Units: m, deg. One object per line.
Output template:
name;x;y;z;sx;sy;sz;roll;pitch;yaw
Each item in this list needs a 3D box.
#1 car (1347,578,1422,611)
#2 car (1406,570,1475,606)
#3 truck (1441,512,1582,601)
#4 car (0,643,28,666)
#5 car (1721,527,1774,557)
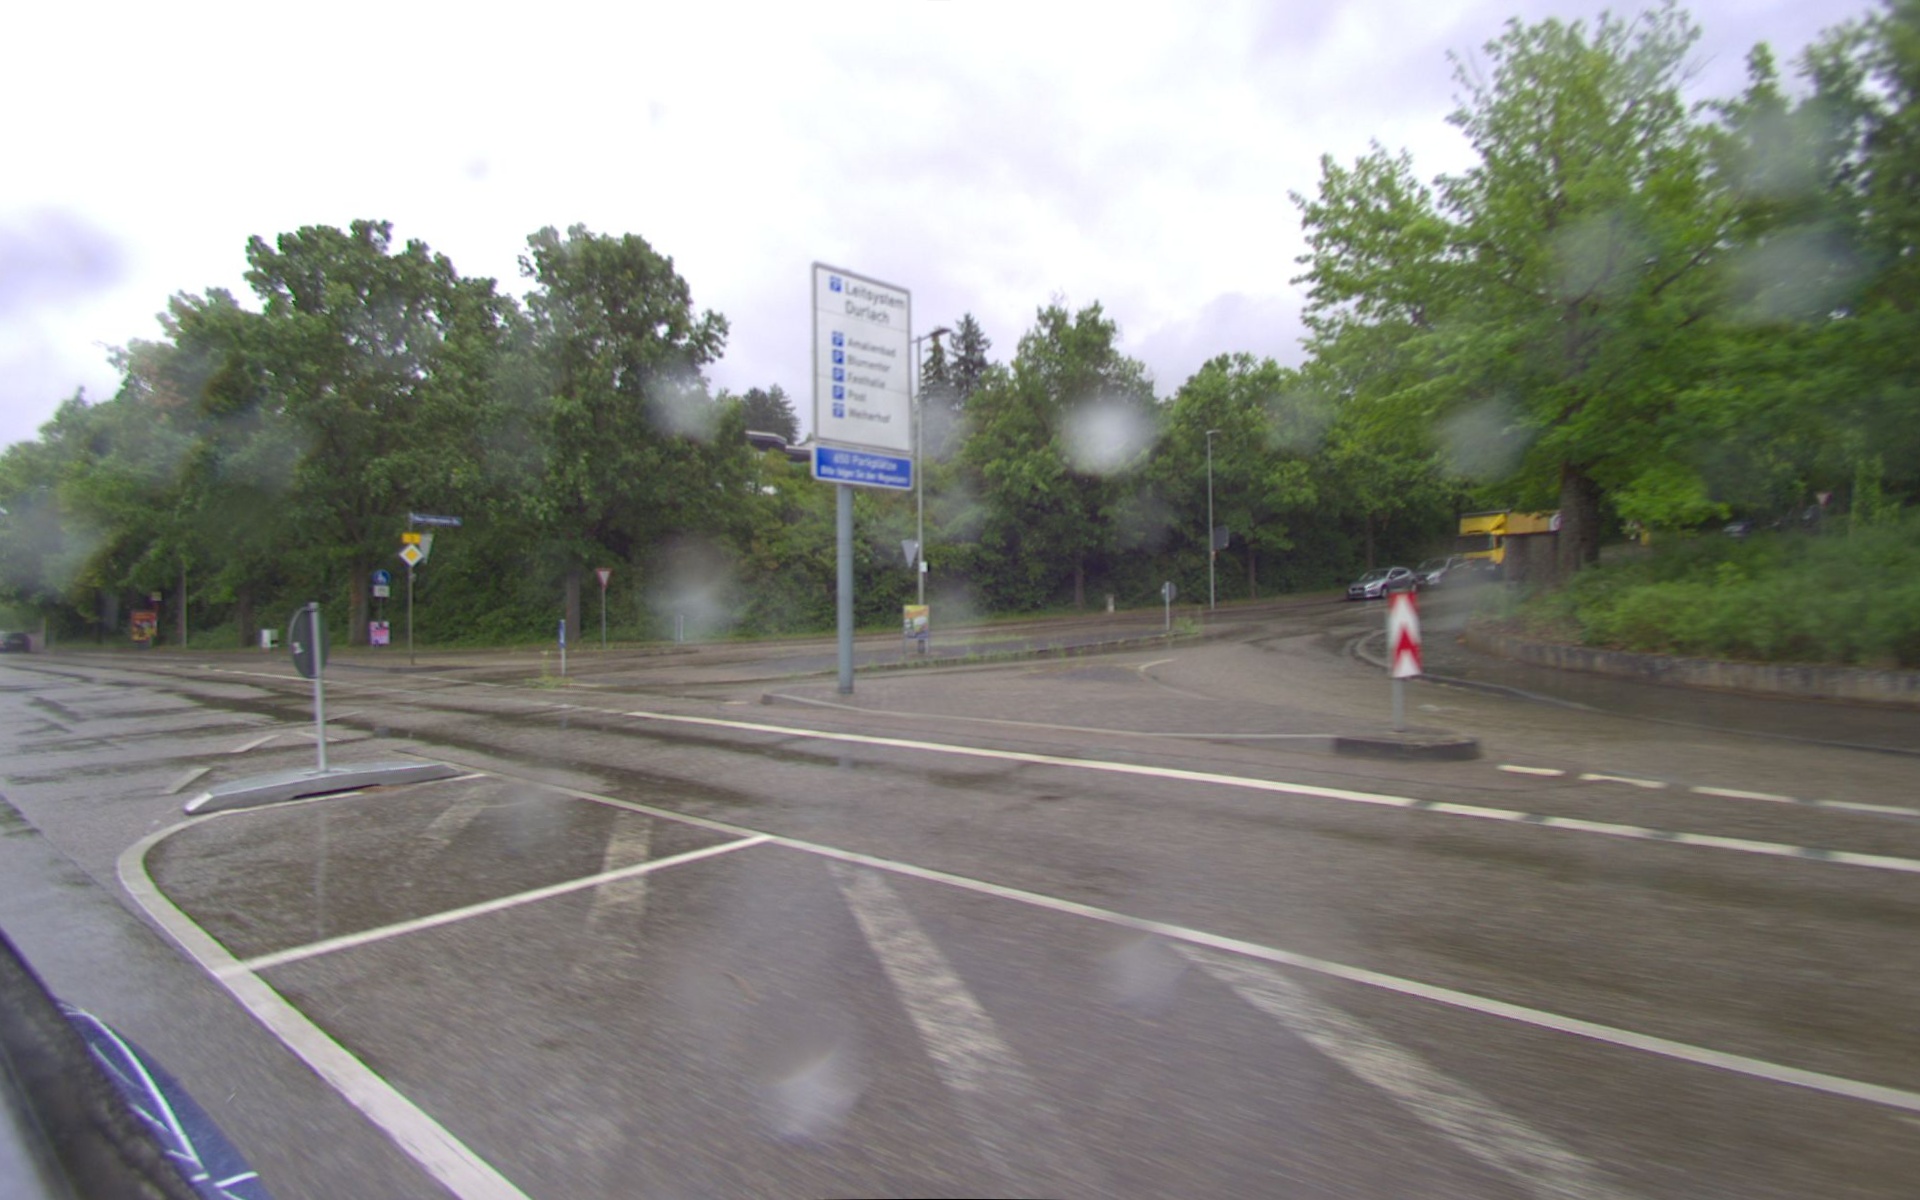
car;20.680;-0.286;49.214;3.818;1.411;1.482;-3;0;-35
car;24.973;-0.629;52.547;3.818;1.664;1.482;-3;0;-35
truck;31.752;-2.514;57.985;10.518;4.689;2.823;-3;0;-37
car;-62.177;3.555;65.667;4.733;1.430;1.671;-2;-2;37
car;51.840;-3.832;66.605;3.936;1.775;1.804;-4;1;-37
